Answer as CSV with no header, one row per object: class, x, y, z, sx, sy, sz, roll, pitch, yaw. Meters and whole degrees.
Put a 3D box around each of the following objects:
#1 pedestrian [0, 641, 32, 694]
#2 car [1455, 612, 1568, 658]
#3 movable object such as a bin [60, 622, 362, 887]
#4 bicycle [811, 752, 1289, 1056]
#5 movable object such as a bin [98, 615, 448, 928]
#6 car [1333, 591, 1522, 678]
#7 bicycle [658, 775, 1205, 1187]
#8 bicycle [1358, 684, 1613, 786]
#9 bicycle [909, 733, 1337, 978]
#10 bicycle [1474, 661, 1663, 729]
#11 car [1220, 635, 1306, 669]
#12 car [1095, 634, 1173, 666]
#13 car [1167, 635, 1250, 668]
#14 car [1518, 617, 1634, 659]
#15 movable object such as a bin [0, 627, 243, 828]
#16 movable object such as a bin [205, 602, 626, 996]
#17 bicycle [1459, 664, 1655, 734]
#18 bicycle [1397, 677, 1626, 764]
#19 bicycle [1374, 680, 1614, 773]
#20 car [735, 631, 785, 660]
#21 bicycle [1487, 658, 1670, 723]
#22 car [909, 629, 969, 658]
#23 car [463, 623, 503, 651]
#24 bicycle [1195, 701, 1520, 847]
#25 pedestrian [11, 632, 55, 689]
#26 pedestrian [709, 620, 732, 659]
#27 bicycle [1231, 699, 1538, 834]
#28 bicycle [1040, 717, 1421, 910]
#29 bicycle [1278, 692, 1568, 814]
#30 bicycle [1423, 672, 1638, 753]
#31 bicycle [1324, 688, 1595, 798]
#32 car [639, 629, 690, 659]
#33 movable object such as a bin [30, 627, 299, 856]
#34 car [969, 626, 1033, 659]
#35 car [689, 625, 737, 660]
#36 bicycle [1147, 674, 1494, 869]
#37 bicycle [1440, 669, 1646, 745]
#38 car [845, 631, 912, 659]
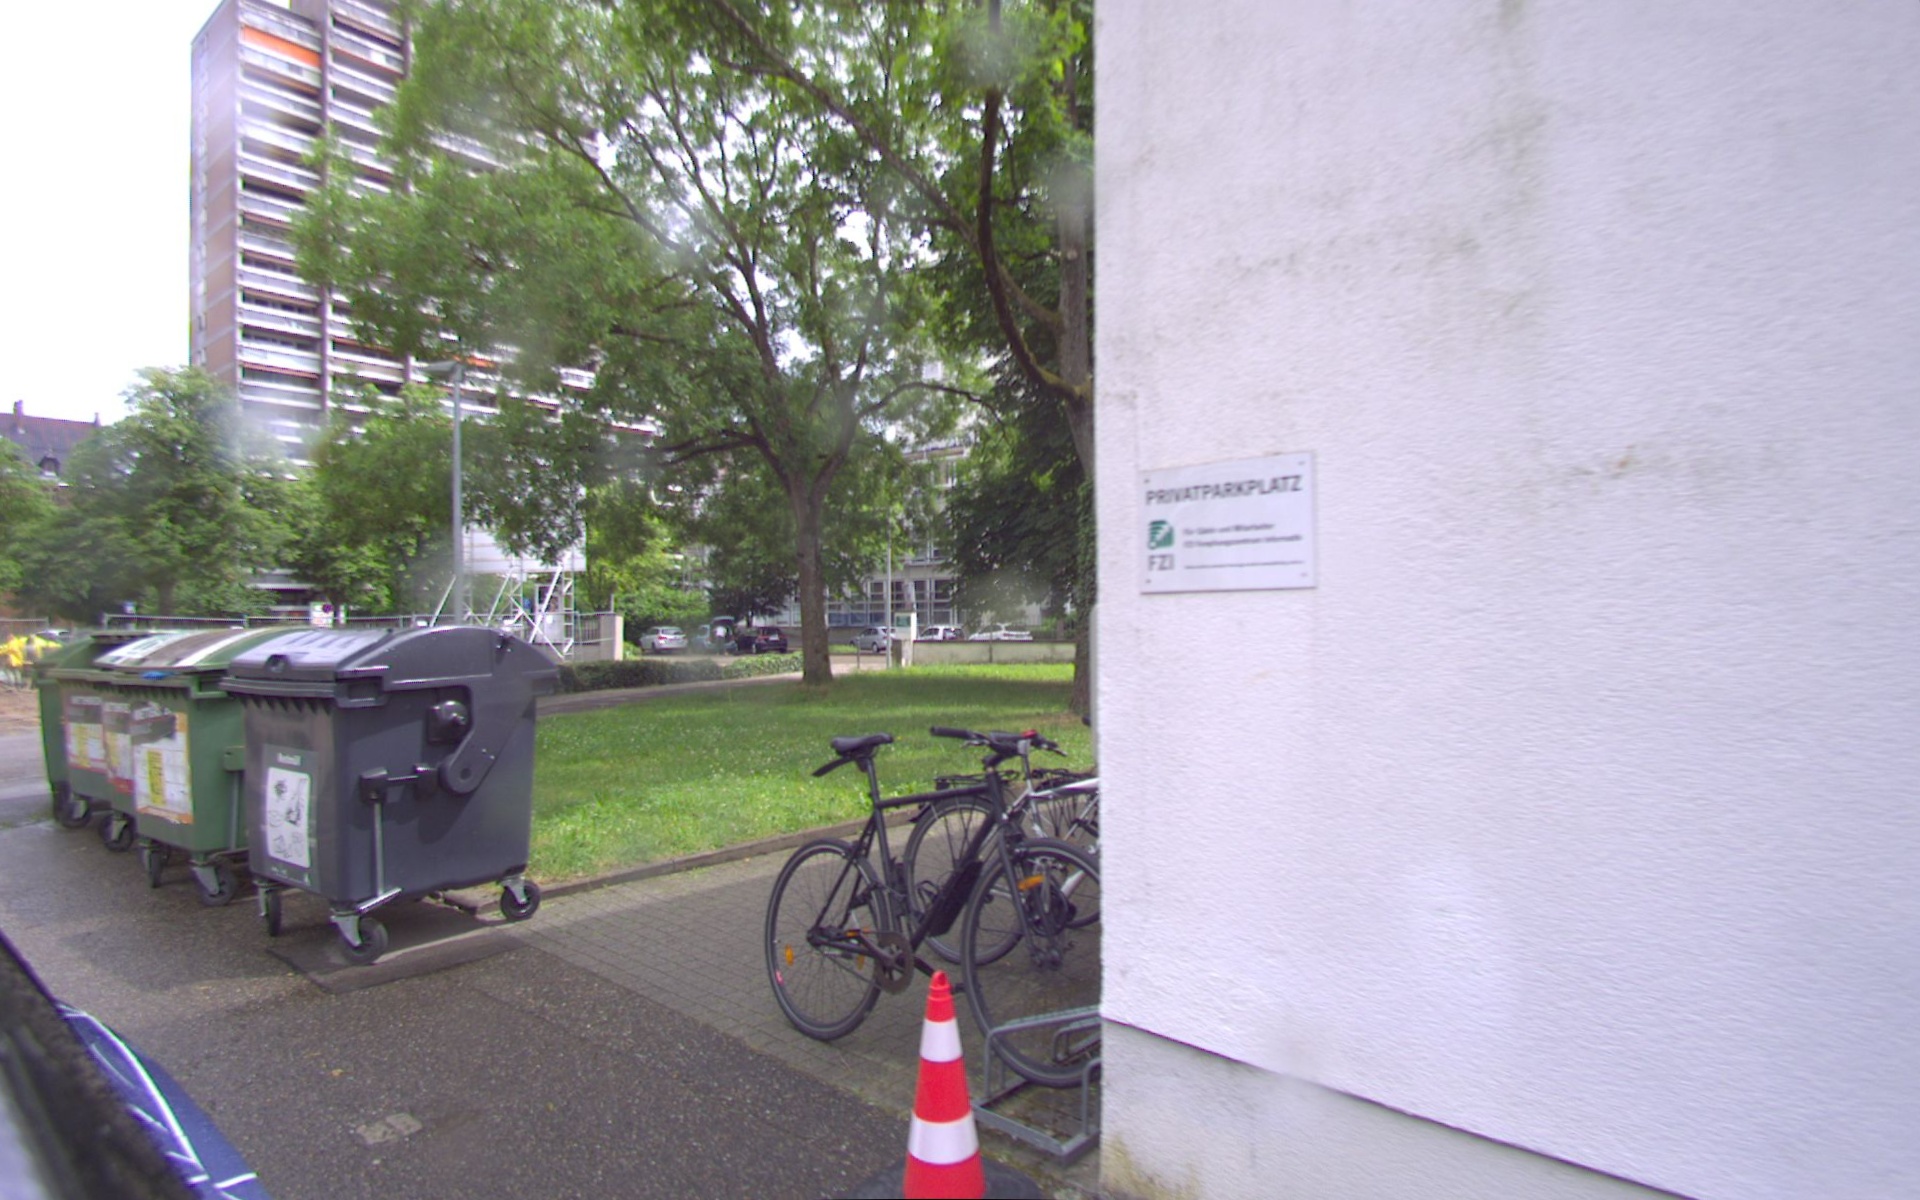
pedestrian,-27.873,1.968,29.717,0.616,1.520,0.649,-1,-2,0
car,24.618,1.581,45.314,1.759,1.947,4.097,2,-3,-29
movable object such as a bin,-5.004,0.924,6.772,1.351,1.482,1.345,-3,-1,40
bicycle,0.243,1.110,4.127,2.056,0.805,0.447,-3,-2,42
movable object such as a bin,-3.971,0.865,5.862,1.365,1.482,1.345,-3,-1,40
car,14.576,1.057,31.888,5.030,2.601,2.086,0,-2,13
bicycle,-0.237,1.092,3.371,2.056,0.805,0.447,-3,-2,42
bicycle,4.871,1.224,9.511,2.056,0.805,0.447,-3,-2,42
bicycle,0.659,1.105,4.785,2.056,0.805,0.447,-3,-2,42
bicycle,7.962,1.227,13.324,2.056,0.805,0.447,-3,-2,42
car,14.426,2.458,48.413,1.759,1.517,3.792,2,-2,-29
car,8.505,2.425,49.708,1.759,1.517,3.792,2,-2,-29
car,11.879,2.465,48.661,1.759,1.517,3.792,2,-2,-29
car,27.525,1.693,45.325,1.759,1.820,4.097,2,-3,-29
movable object such as a bin,-7.279,1.021,8.763,1.560,1.482,1.394,-3,-1,41
movable object such as a bin,-2.590,0.790,4.833,1.365,1.482,1.345,-3,-1,40
bicycle,7.506,1.224,12.804,2.056,0.805,0.447,-3,-2,42
bicycle,5.797,1.241,10.745,2.056,0.805,0.447,-3,-2,42
bicycle,5.292,1.229,10.152,2.056,0.805,0.447,-3,-2,42
car,-10.675,2.401,53.790,1.594,1.438,3.660,0,-1,-28
bicycle,8.376,1.214,13.786,2.056,0.805,0.447,-3,-2,42
car,-1.112,2.239,51.653,1.626,1.456,3.400,2,-3,-30
car,-27.523,2.121,58.332,1.827,1.497,4.012,-2,-1,-28
bicycle,2.693,1.151,7.071,2.056,0.805,0.447,-3,-2,42
pedestrian,-28.304,1.841,30.919,0.763,1.686,0.715,0,-2,-22
pedestrian,-12.470,2.045,52.683,0.852,2.029,0.926,-1,-2,17
bicycle,3.092,1.184,7.560,2.056,0.805,0.447,-3,-2,42
bicycle,1.418,1.114,5.675,2.056,0.805,0.447,-3,-2,42
bicycle,3.648,1.180,8.145,2.056,0.805,0.447,-3,-2,42
bicycle,6.439,1.246,11.520,2.056,0.805,0.447,-3,-2,42
bicycle,4.295,1.205,8.852,2.056,0.805,0.447,-3,-2,42
car,-16.161,2.388,55.194,1.827,1.497,4.012,-2,-1,-28
movable object such as a bin,-6.095,0.986,7.757,1.464,1.482,1.345,-3,-1,41
car,2.046,2.163,51.247,1.678,1.615,3.400,2,-3,-30
car,-13.239,2.233,54.078,1.594,1.760,3.660,0,-1,-28
bicycle,2.237,1.026,6.530,2.056,1.046,0.447,-3,-2,42
bicycle,6.890,1.244,12.054,2.056,0.805,0.447,-3,-2,42
car,-4.297,2.351,53.004,1.694,1.426,4.010,2,-4,-35
